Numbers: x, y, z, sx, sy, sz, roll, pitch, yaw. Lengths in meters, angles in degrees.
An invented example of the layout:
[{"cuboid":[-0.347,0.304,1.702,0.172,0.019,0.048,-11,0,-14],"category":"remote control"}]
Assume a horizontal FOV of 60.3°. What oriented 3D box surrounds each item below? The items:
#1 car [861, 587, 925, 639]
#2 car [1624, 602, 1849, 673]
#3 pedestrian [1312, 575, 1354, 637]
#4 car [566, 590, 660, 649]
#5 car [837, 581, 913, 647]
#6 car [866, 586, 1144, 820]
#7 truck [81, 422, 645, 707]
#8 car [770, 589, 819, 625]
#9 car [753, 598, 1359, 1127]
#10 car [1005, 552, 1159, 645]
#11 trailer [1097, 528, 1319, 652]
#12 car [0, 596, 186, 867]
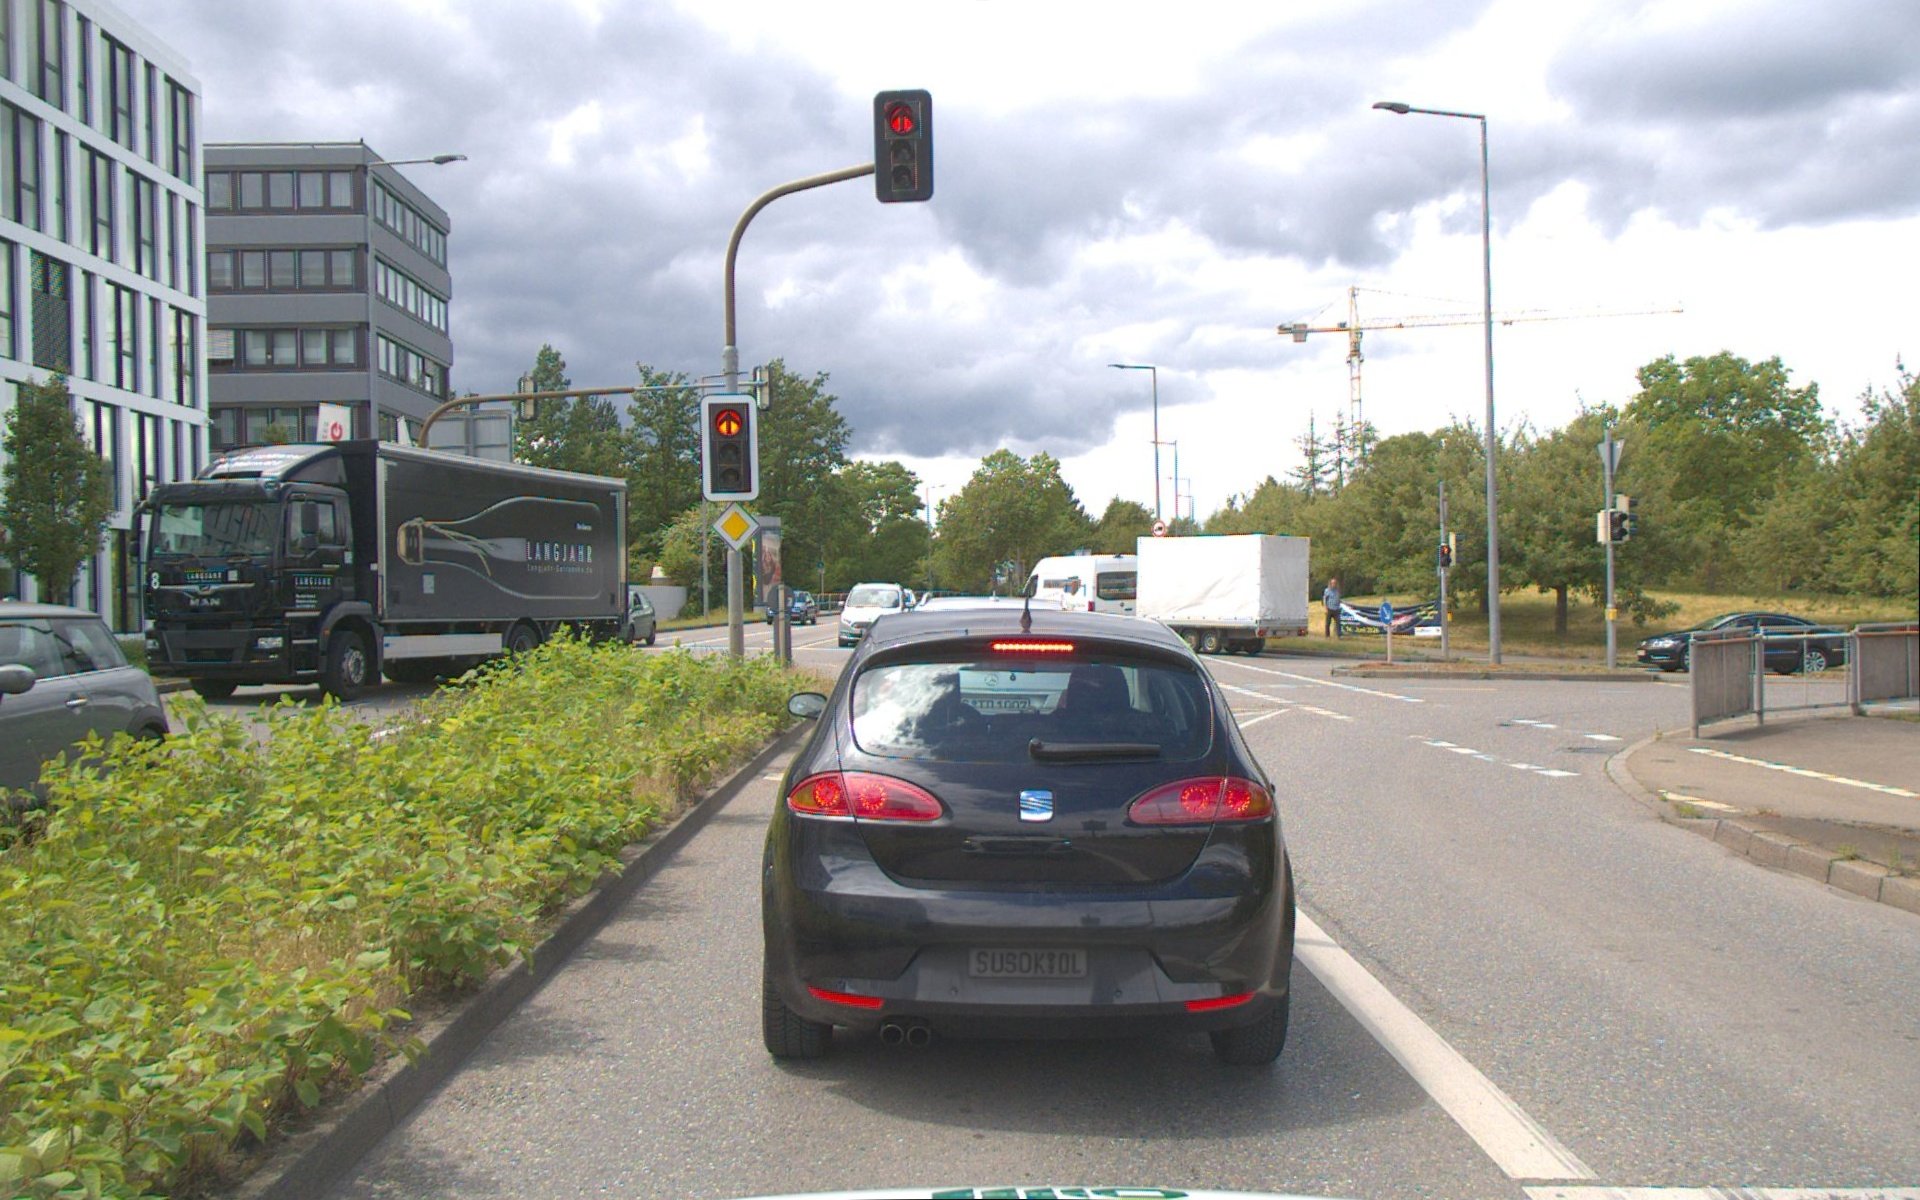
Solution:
[{"cuboid":[-2.070,0.382,52.238,1.625,1.545,4.086,1,1,3],"category":"car"},{"cuboid":[18.163,0.872,38.862,4.362,1.593,2.001,0,0,4],"category":"car"},{"cuboid":[11.120,0.177,49.286,0.709,1.824,1.034,1,-1,-27],"category":"pedestrian"},{"cuboid":[-9.011,0.467,43.233,1.572,1.457,3.753,0,0,1],"category":"car"},{"cuboid":[-2.326,0.348,46.156,1.783,1.716,4.646,1,1,1],"category":"car"},{"cuboid":[0.307,0.680,12.684,1.797,1.493,3.751,1,0,0],"category":"car"},{"cuboid":[-8.600,-0.501,25.761,3.101,3.579,9.532,2,1,17],"category":"truck"},{"cuboid":[-7.072,0.273,70.909,1.521,1.444,3.897,1,1,3],"category":"car"},{"cuboid":[0.251,0.732,6.338,1.676,1.442,3.459,1,0,-1],"category":"car"},{"cuboid":[3.516,-0.038,49.159,2.098,2.562,5.791,1,0,-24],"category":"car"},{"cuboid":[6.578,-0.266,44.386,5.493,3.127,2.482,1,0,44],"category":"trailer"},{"cuboid":[-6.000,0.715,9.255,1.655,1.455,3.634,-1,0,-1],"category":"car"}]
